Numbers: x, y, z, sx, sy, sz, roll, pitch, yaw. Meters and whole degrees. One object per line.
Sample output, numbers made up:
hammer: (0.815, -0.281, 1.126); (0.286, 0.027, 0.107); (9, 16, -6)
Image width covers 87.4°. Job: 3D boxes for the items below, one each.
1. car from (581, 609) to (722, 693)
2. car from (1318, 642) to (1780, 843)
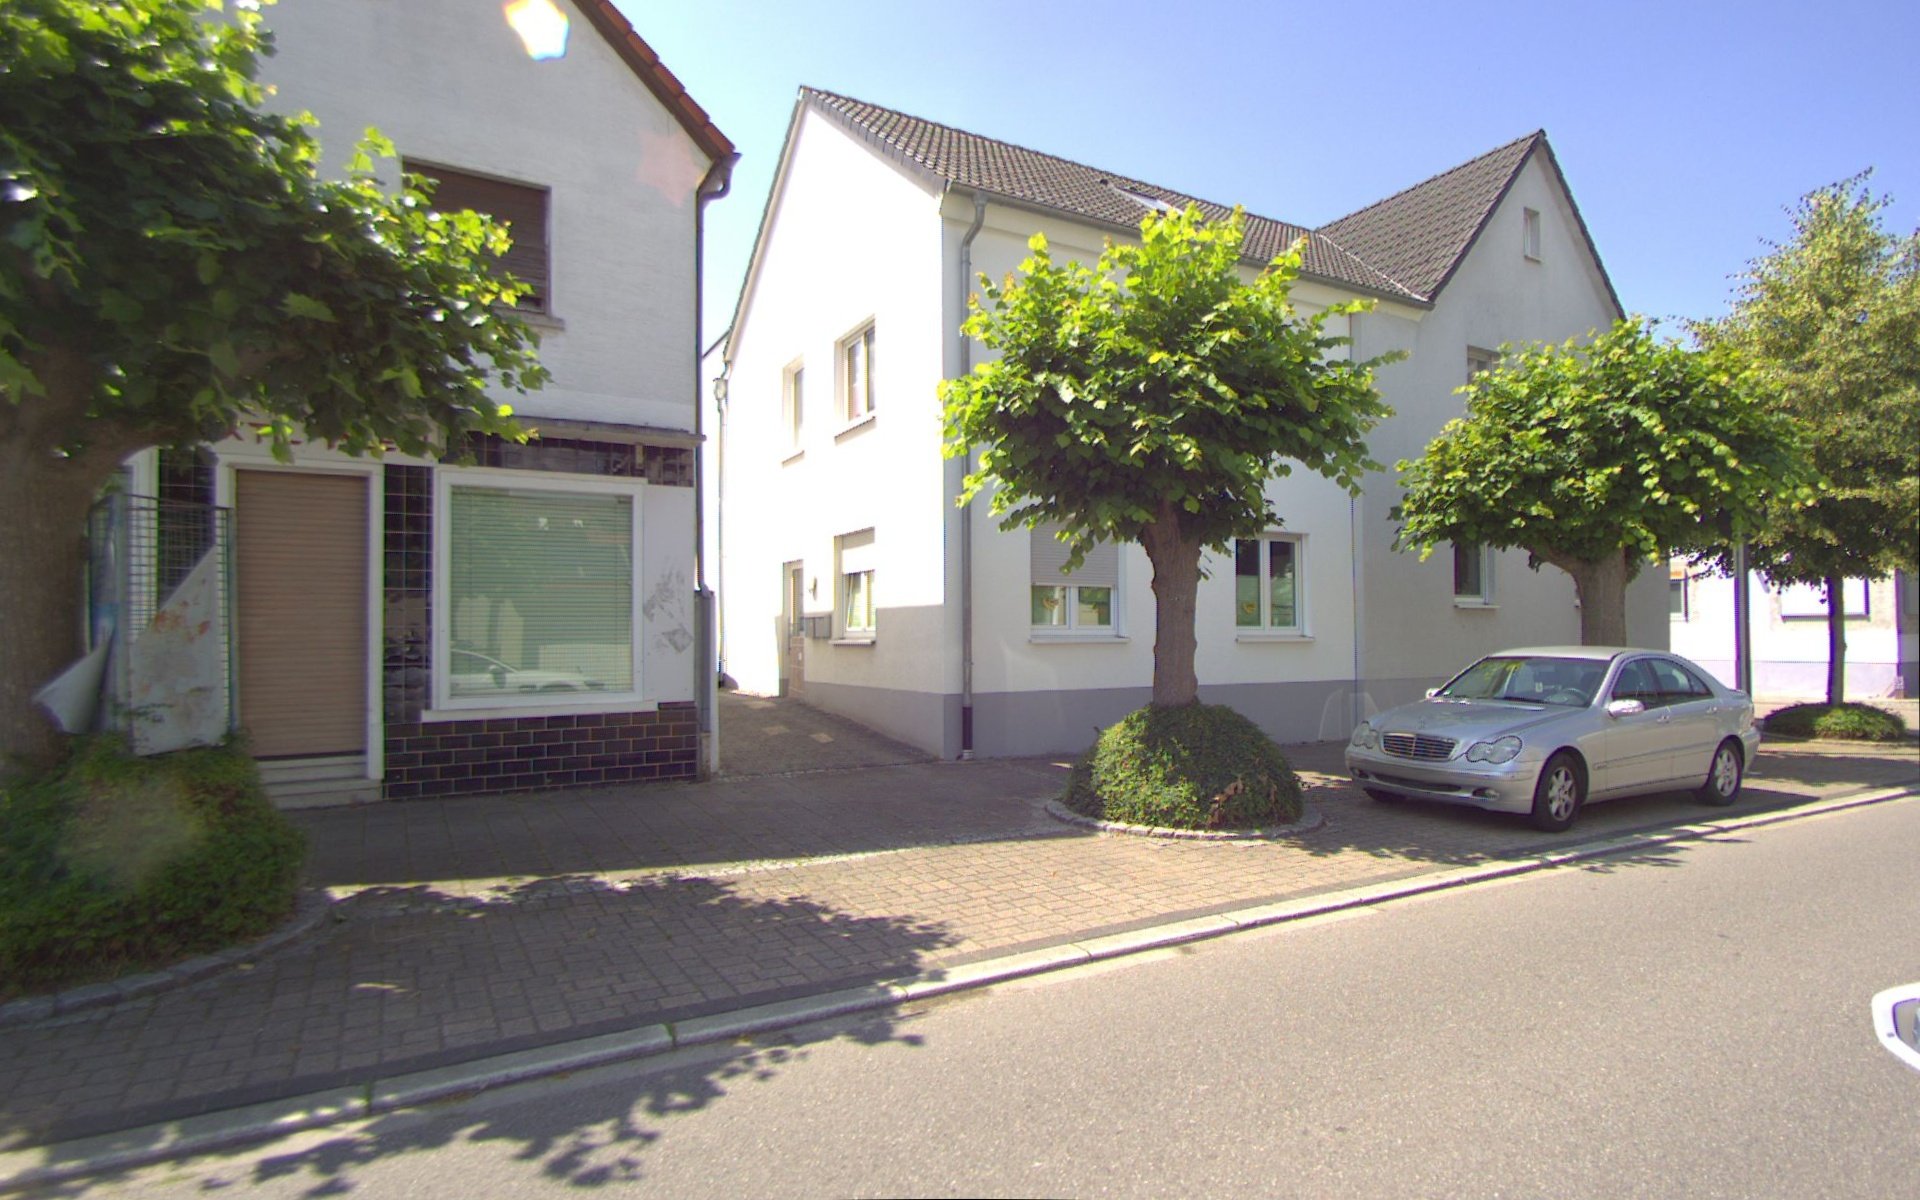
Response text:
car: (-6.019, 0.965, 19.309); (1.803, 1.419, 3.970); (1, -3, -29)
car: (5.479, 1.113, 9.209); (4.356, 1.414, 1.831); (1, -2, -31)
